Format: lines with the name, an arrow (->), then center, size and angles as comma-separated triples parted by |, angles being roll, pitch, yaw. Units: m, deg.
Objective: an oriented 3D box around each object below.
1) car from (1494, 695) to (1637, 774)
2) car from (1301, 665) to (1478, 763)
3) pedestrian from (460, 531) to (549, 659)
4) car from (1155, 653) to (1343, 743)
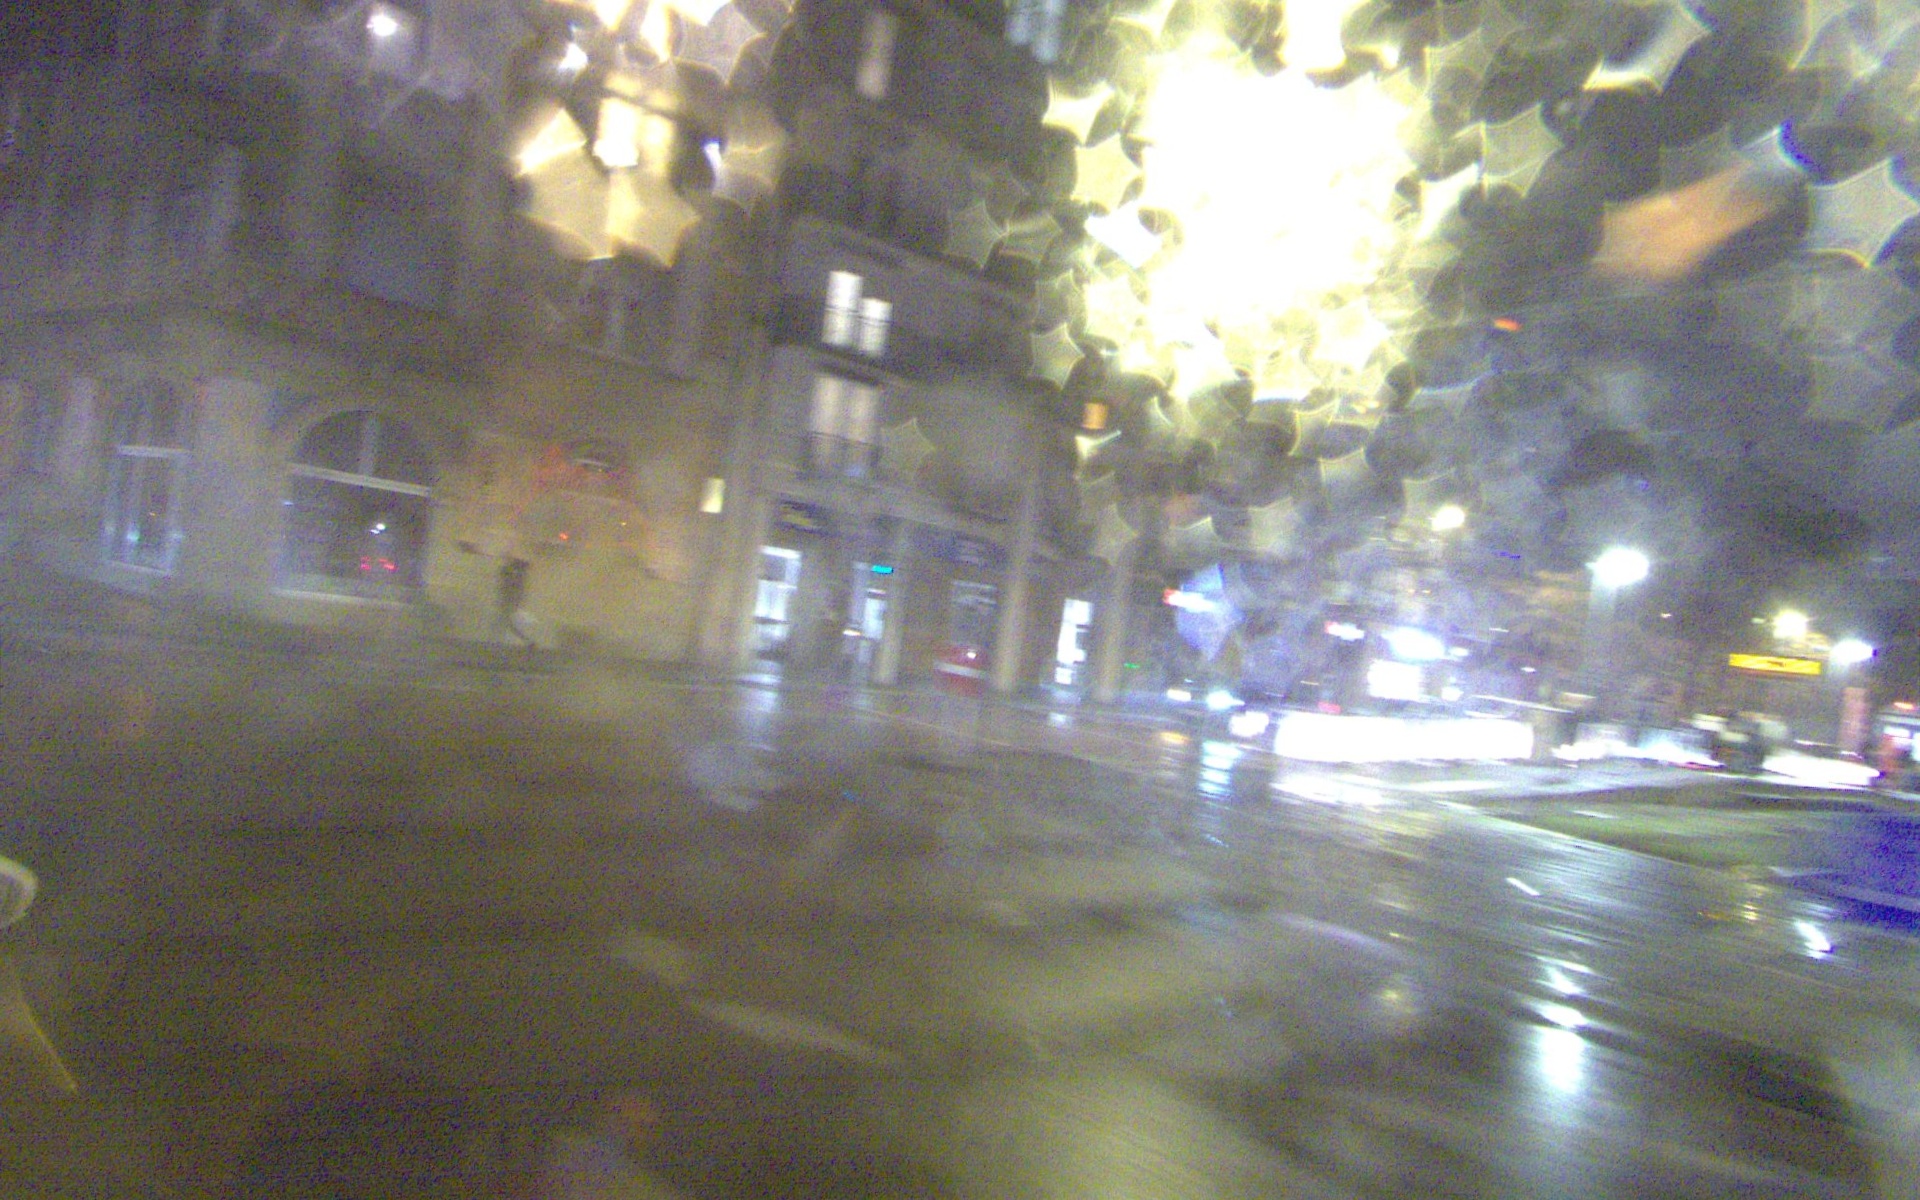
car -> 15.744, 3.503, 26.098 | 3.696, 1.597, 1.675 | 9, -1, -35
car -> 9.225, 2.459, 21.495 | 3.769, 1.597, 1.725 | 9, -1, -38
pedestrian -> -8.006, -0.084, 17.657 | 0.969, 2.039, 1.004 | 7, 3, -40
car -> 7.012, 2.385, 24.217 | 4.554, 1.597, 1.902 | 9, -1, -38
